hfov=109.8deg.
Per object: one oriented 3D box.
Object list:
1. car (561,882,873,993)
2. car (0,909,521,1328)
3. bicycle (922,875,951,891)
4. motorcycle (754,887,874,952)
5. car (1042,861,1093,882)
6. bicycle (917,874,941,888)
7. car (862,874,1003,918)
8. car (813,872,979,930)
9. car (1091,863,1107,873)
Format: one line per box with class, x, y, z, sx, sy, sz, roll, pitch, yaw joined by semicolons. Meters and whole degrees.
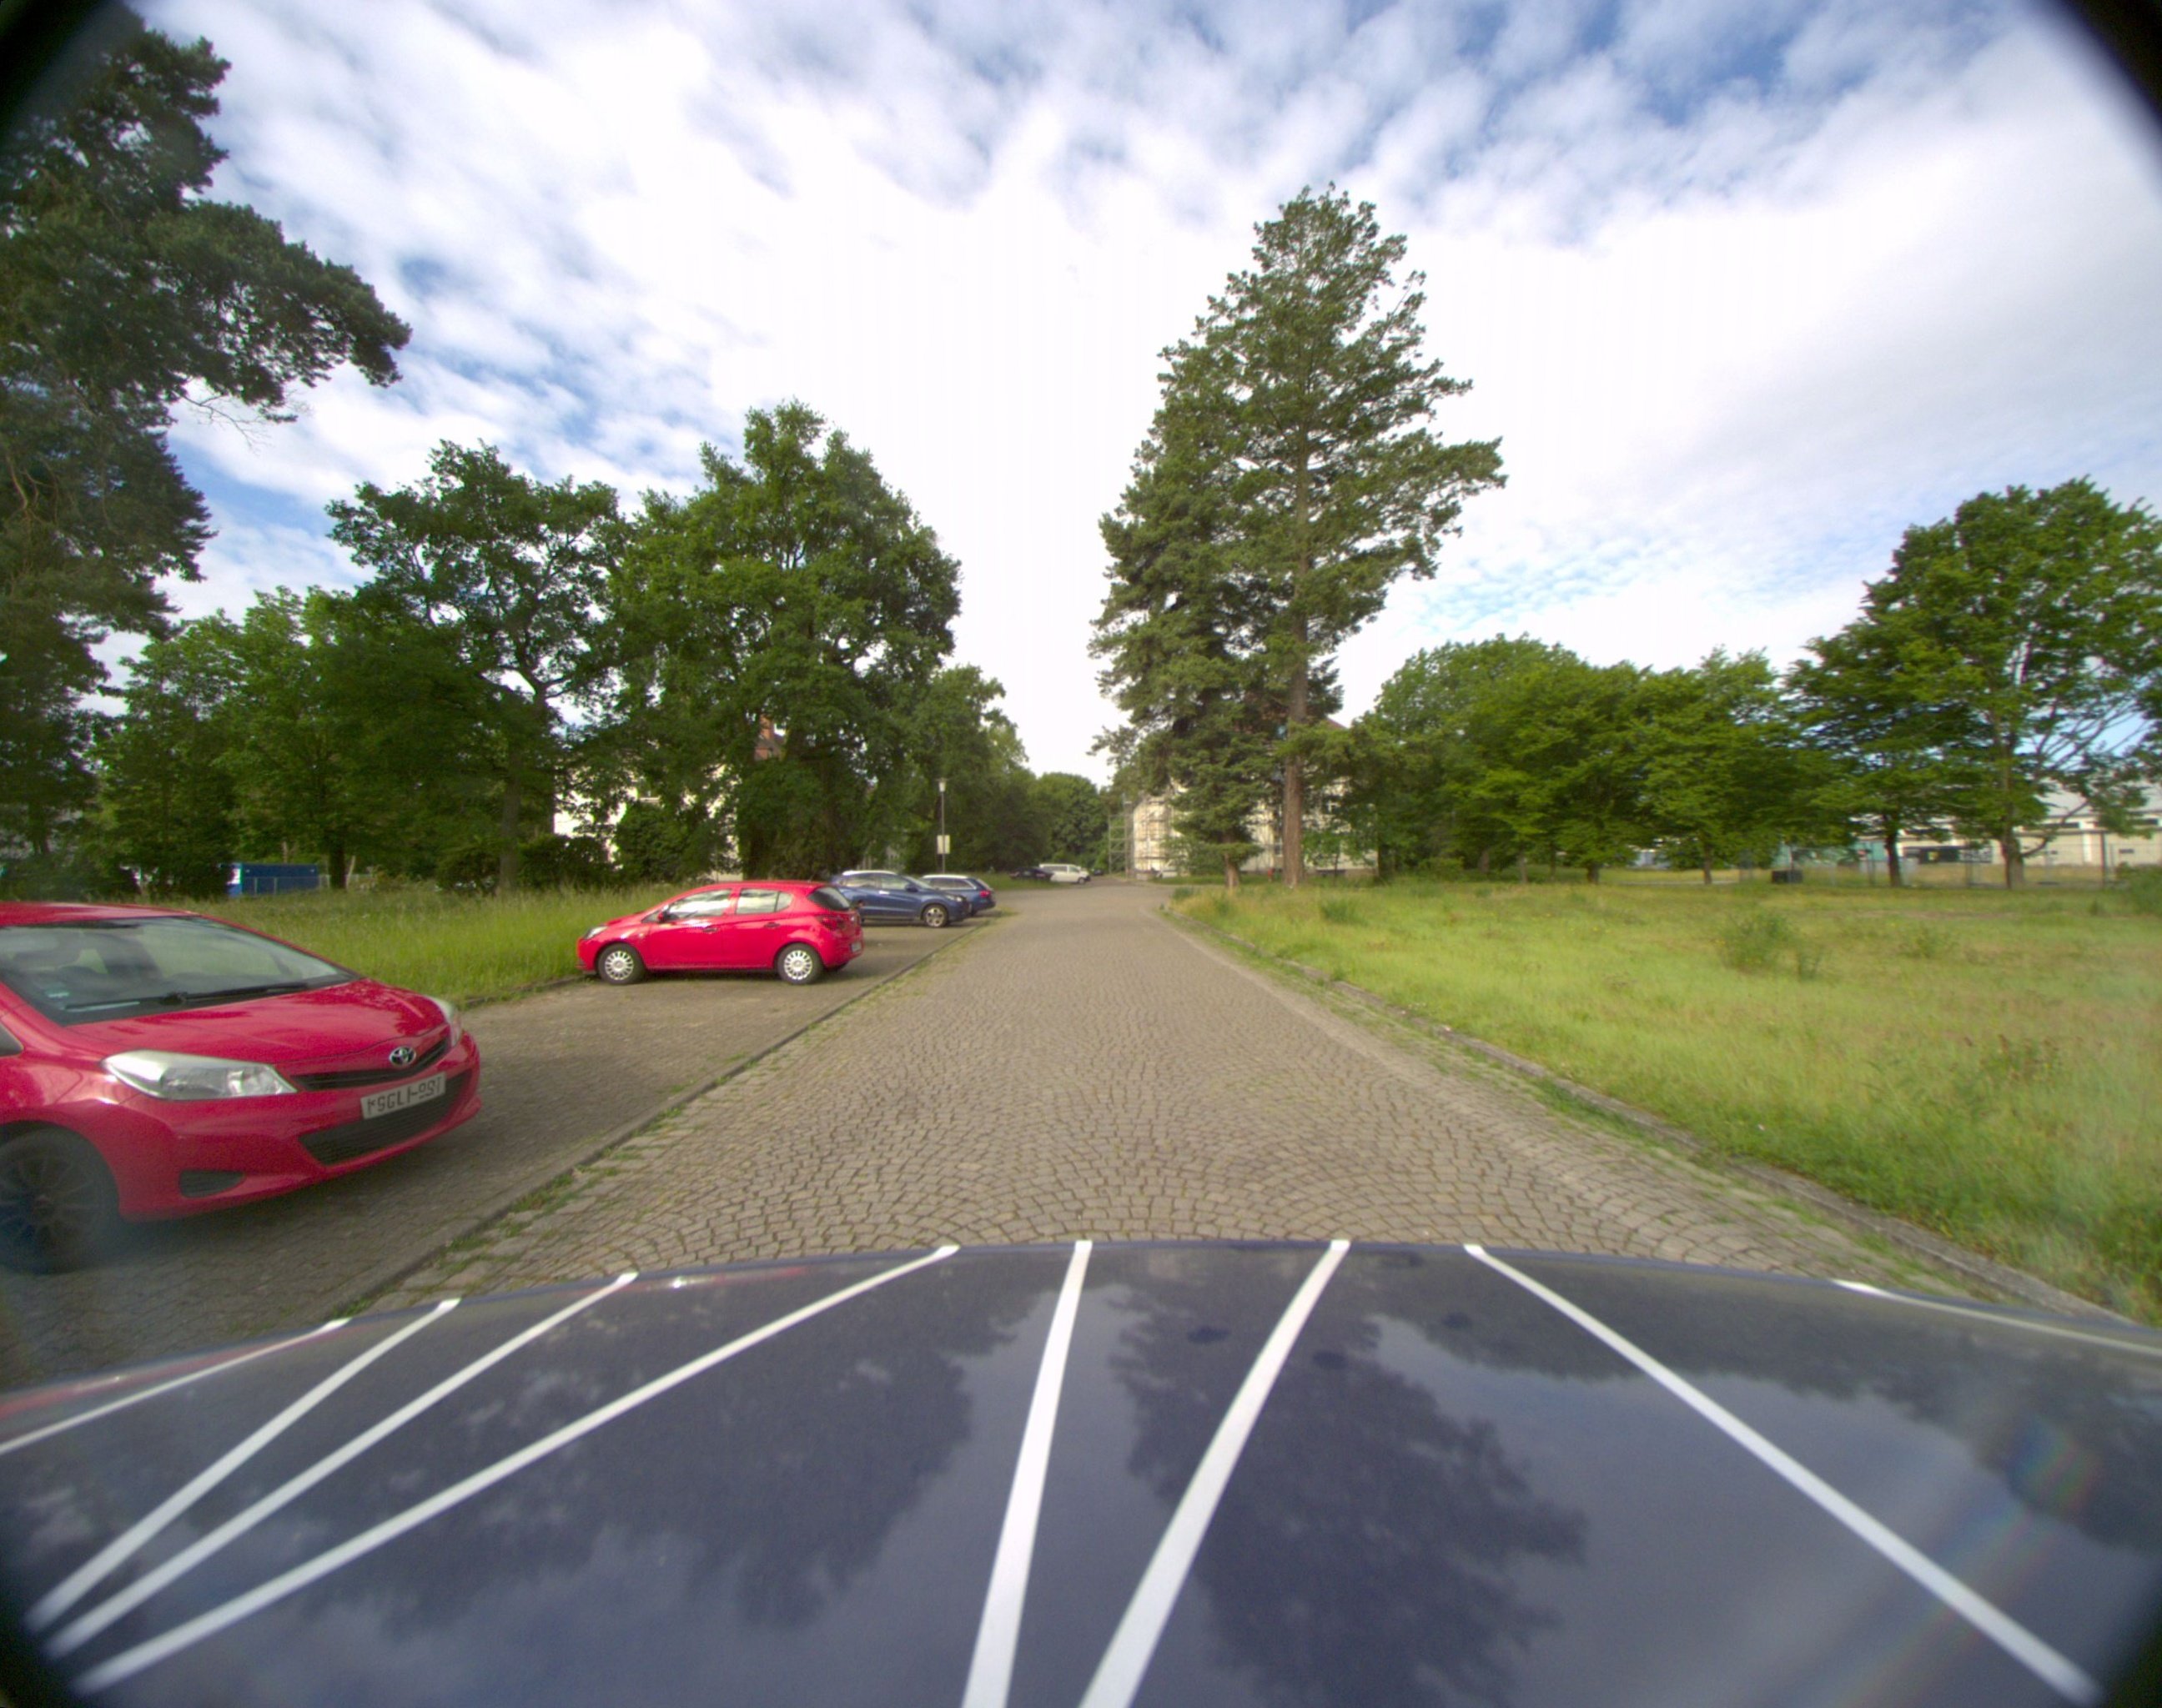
car;-5.288;1.192;11.426;3.849;1.496;1.738;0;-1;-1
car;-5.467;1.119;3.809;3.997;1.509;1.738;-1;-1;0
bicycle;-10.454;2.093;54.891;2.020;1.082;0.478;0;2;-22
motorcycle;-5.525;1.345;15.824;2.271;1.267;0.605;0;0;-5
car;-1.372;1.717;75.246;4.916;1.982;2.000;-1;-1;-3
bicycle;-12.119;2.159;60.506;1.810;1.082;0.552;0;2;-22
car;-5.104;1.438;26.514;4.515;1.456;1.896;0;-1;3
car;-5.180;1.316;21.734;4.274;1.564;1.895;0;-1;-1
car;3.367;2.598;141.761;2.029;1.915;3.997;-1;-1;-11
